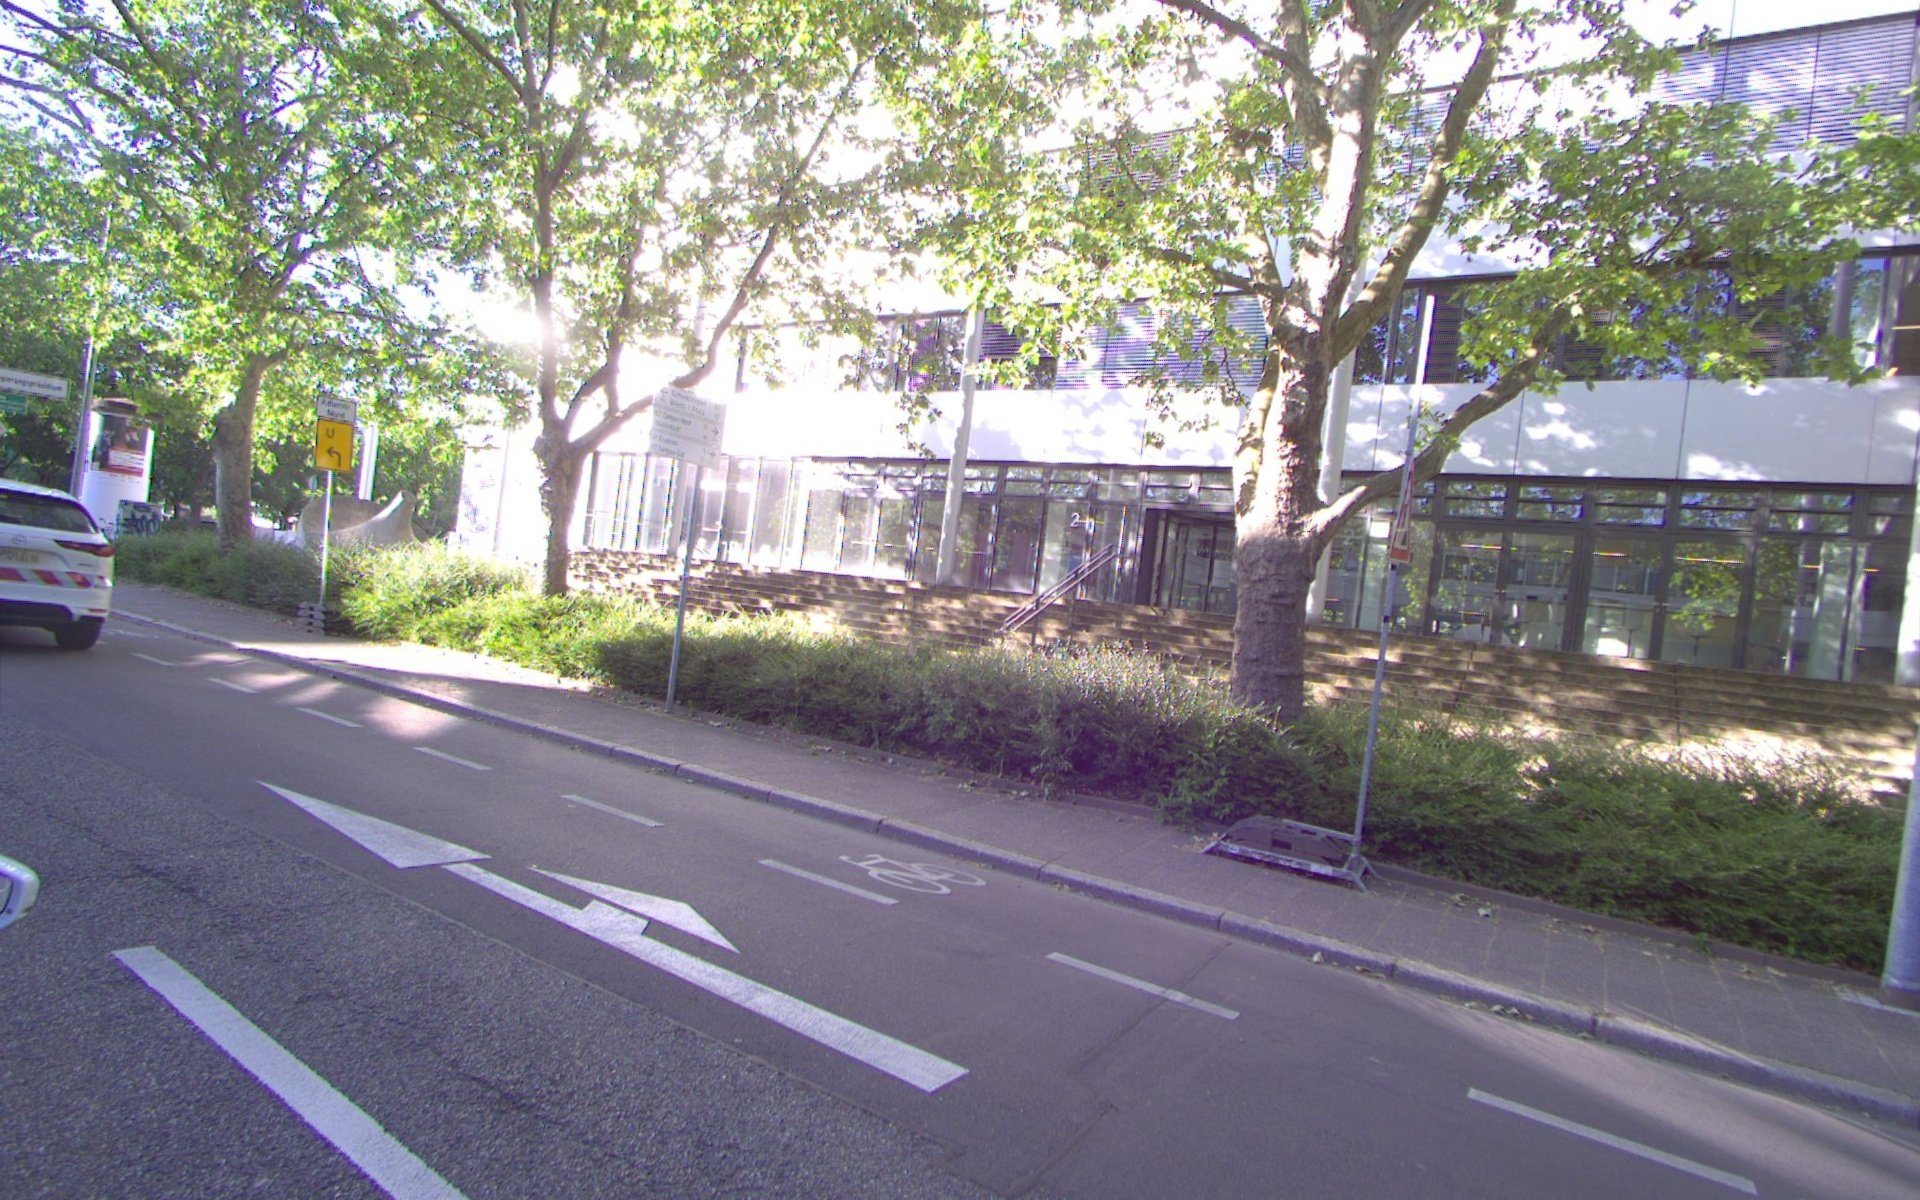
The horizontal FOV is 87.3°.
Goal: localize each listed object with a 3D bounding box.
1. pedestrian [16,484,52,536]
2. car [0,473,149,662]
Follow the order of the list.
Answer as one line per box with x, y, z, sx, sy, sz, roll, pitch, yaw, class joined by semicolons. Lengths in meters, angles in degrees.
-34.506;-3.330;37.480;0.672;1.793;0.613;8;-1;-29;pedestrian
-10.916;-0.537;10.884;4.410;1.727;1.946;7;-2;33;car
